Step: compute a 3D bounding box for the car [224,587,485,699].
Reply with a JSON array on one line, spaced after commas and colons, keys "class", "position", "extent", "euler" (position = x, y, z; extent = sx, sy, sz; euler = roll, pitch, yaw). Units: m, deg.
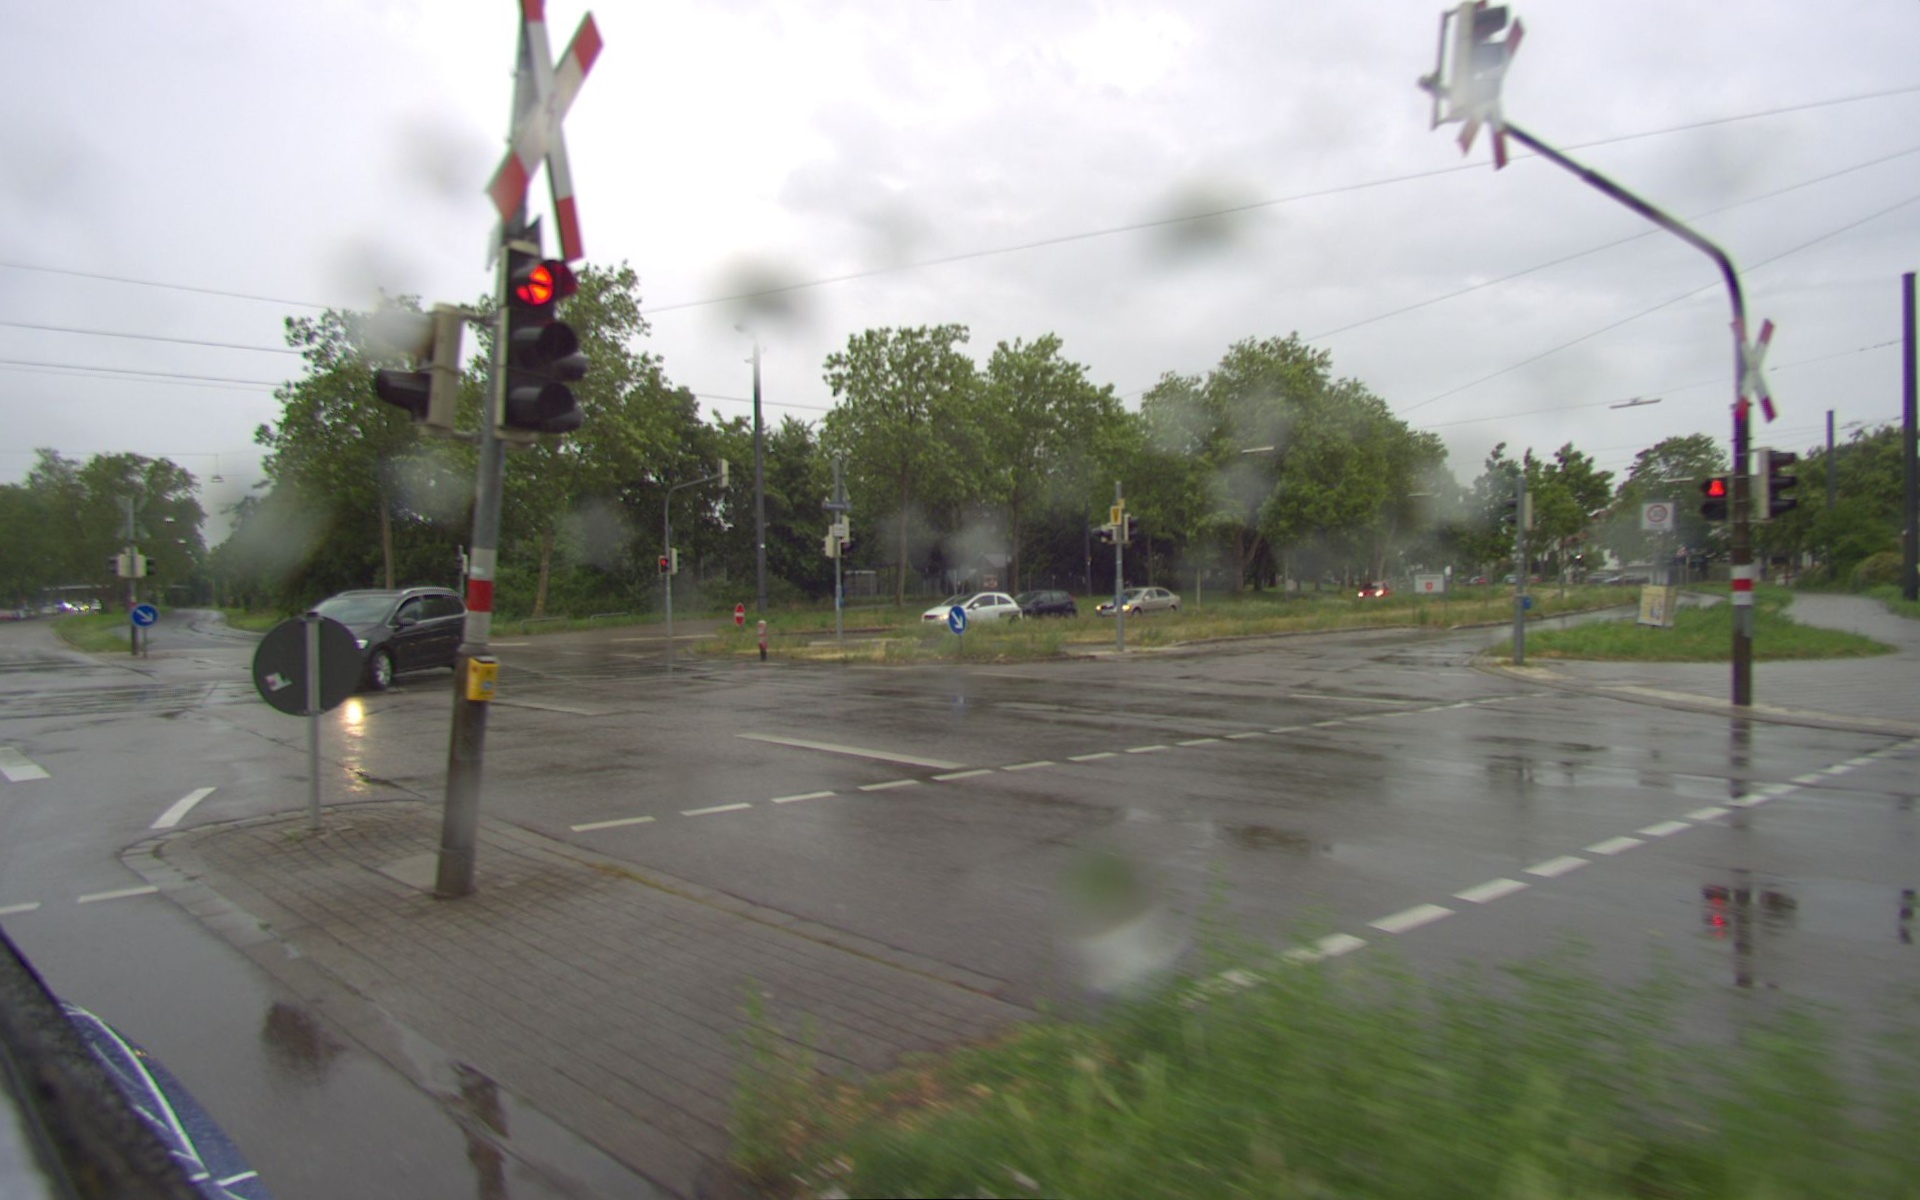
[{"class": "car", "position": [-10.198, 0.653, 17.543], "extent": [1.841, 1.613, 4.526], "euler": [-2, 0, -1]}]

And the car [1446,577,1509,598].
[{"class": "car", "position": [39.650, -0.947, 77.608], "extent": [4.040, 1.431, 1.654], "euler": [-2, 0, 39]}]

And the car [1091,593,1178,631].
[{"class": "car", "position": [7.229, 0.479, 41.738], "extent": [1.789, 1.414, 3.742], "euler": [-2, 0, 42]}]

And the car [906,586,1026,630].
[{"class": "car", "position": [0.254, 0.279, 35.578], "extent": [3.934, 1.373, 1.792], "euler": [-2, 0, -39]}]

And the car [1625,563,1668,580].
[{"class": "car", "position": [85.260, -3.551, 125.702], "extent": [3.962, 1.815, 1.884], "euler": [-2, -1, 14]}]

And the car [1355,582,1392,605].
[{"class": "car", "position": [26.627, -0.446, 65.128], "extent": [1.781, 1.391, 3.827], "euler": [-2, 0, 28]}]

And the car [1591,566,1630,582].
[{"class": "car", "position": [84.340, -3.410, 131.251], "extent": [3.847, 1.815, 1.810], "euler": [-2, -1, 16]}]
